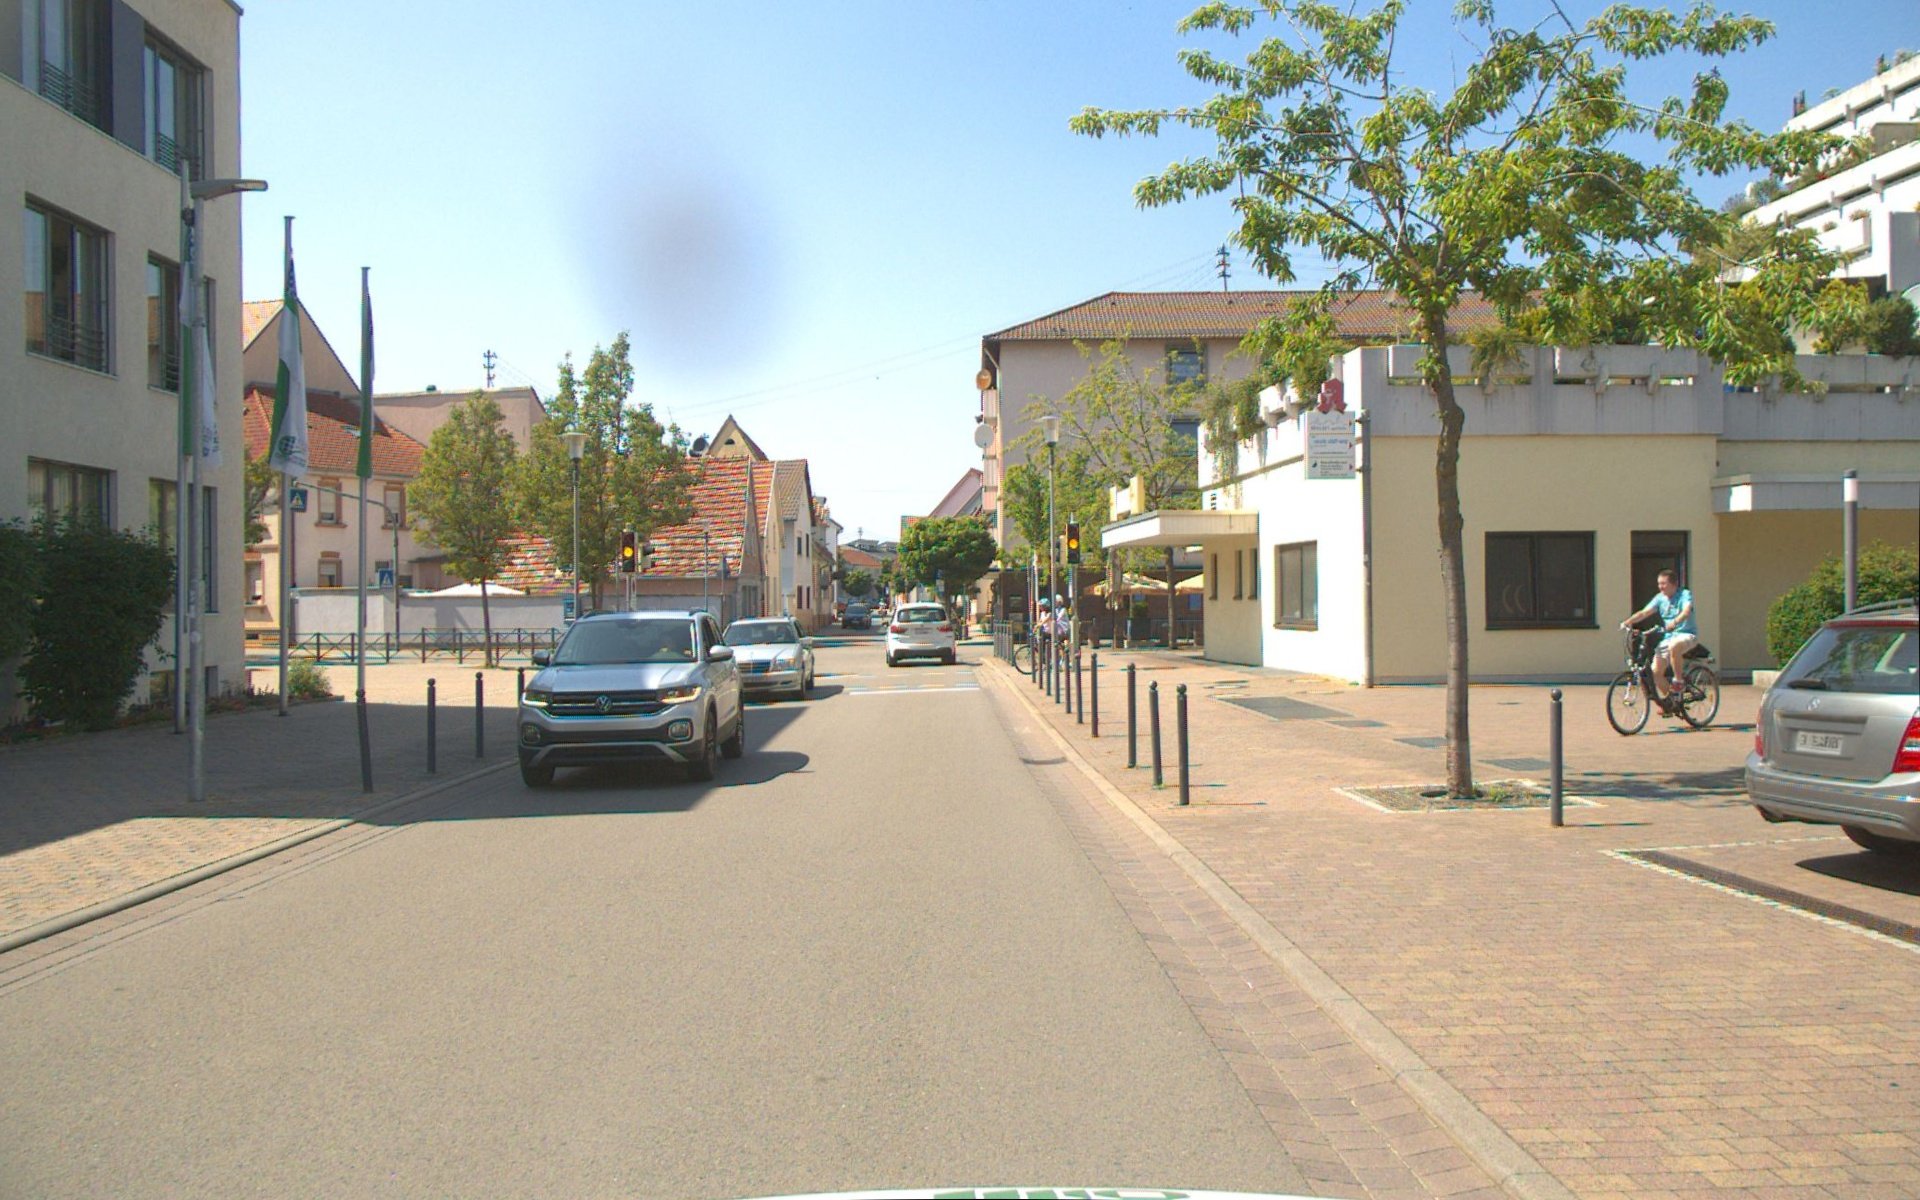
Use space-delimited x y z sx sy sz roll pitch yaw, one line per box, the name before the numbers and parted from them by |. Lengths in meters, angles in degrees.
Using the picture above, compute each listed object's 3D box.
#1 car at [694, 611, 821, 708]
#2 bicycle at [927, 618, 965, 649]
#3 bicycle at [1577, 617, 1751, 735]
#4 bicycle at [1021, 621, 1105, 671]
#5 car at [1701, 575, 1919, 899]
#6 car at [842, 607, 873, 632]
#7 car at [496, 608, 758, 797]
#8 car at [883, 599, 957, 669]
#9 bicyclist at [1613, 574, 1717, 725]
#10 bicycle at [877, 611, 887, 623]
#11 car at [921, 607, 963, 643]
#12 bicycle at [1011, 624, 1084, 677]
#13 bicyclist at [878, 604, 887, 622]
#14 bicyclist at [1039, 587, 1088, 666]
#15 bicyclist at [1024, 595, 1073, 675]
car | -3.683 1.039 30.781 1.843 1.489 4.435 -3 1 -2
bicycle | -0.557 1.321 66.162 0.523 1.214 1.648 0 -1 -44
bicycle | 7.558 0.795 17.745 1.868 1.128 0.670 -3 0 -28
bicycle | 2.259 1.000 36.106 1.879 0.974 0.666 -3 0 -41
car | 6.681 0.564 8.963 4.489 1.539 1.913 -3 -1 -7
car | -6.546 1.227 105.777 1.678 1.543 3.786 -1 0 1
car | -3.114 0.891 16.253 1.813 1.601 3.999 -1 0 -1
car | -1.021 0.880 44.021 1.796 1.680 3.999 -3 0 0
bicyclist | 7.562 0.523 17.756 0.750 1.553 0.665 -2 0 -27
bicycle | -6.383 1.394 135.949 0.650 1.024 1.898 -1 0 2
car | -0.771 1.132 74.935 1.767 1.528 4.001 -1 0 1
bicycle | 1.834 1.038 34.417 0.661 0.974 1.891 -3 1 32
bicyclist | -6.399 1.063 135.873 0.659 1.509 0.770 -1 -1 1
bicyclist | 2.269 0.581 36.134 0.755 1.693 0.661 -3 0 -41
bicyclist | 1.838 0.730 34.414 0.657 1.609 0.760 -3 0 32
